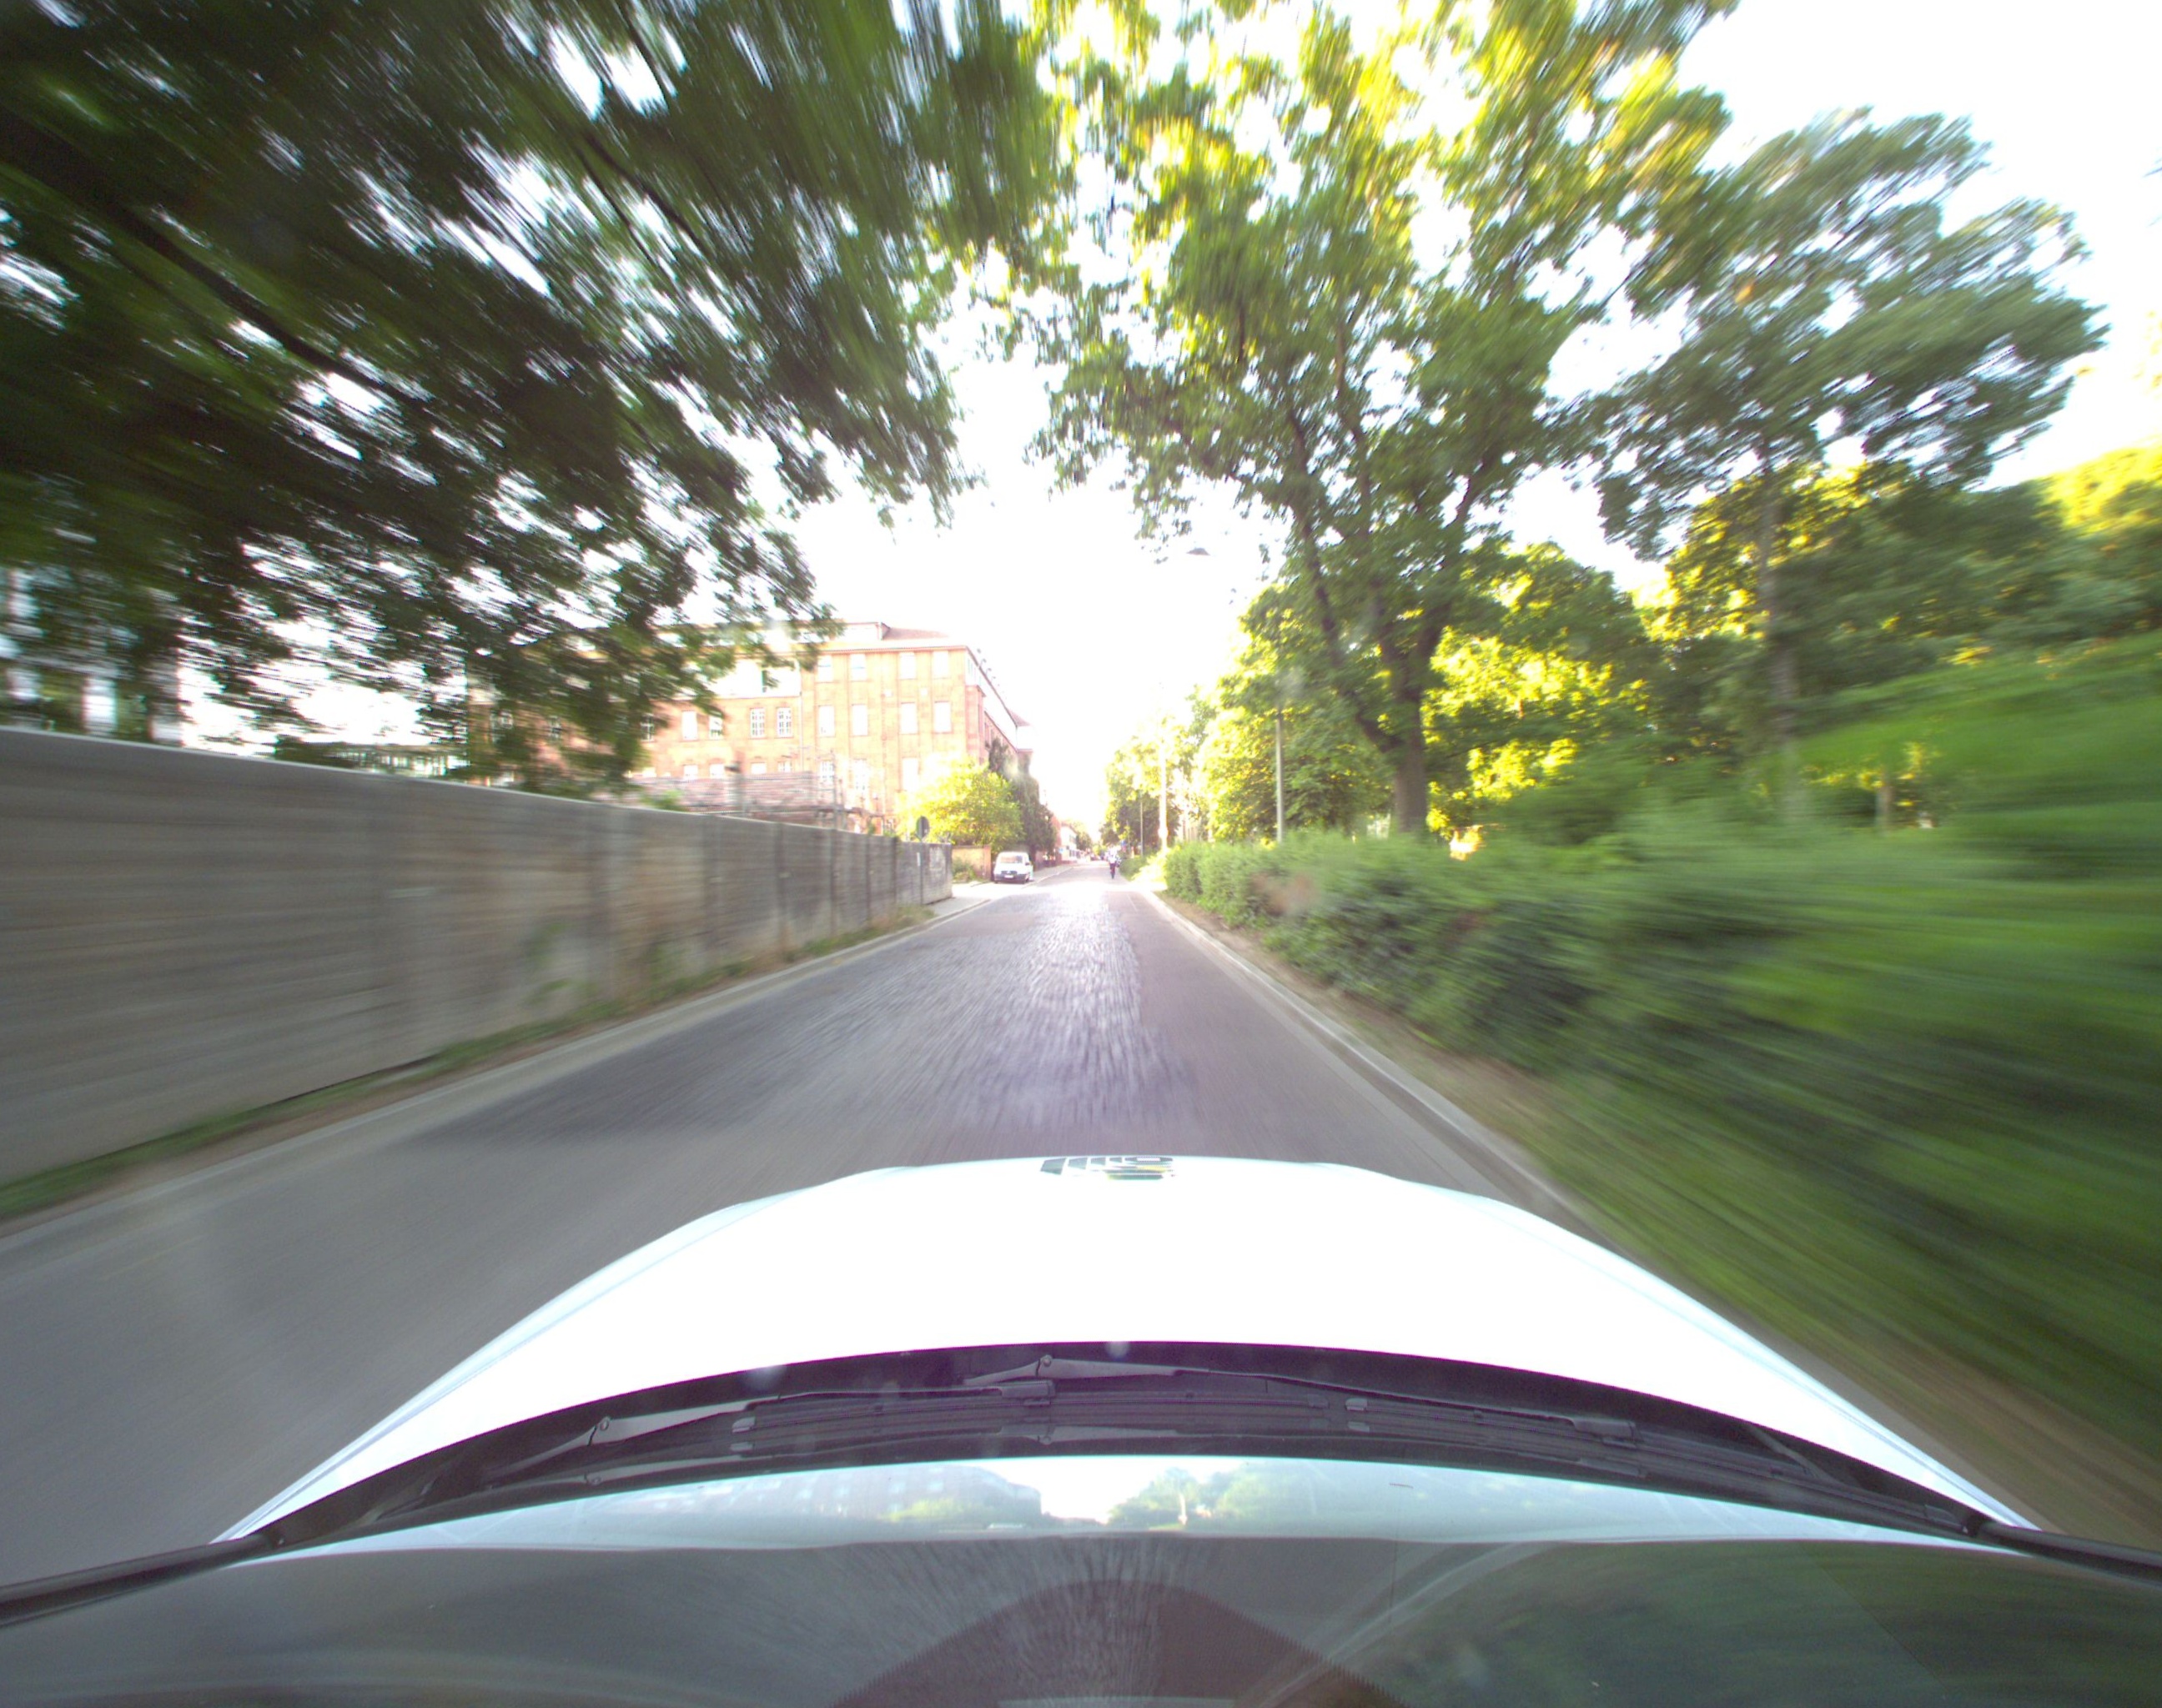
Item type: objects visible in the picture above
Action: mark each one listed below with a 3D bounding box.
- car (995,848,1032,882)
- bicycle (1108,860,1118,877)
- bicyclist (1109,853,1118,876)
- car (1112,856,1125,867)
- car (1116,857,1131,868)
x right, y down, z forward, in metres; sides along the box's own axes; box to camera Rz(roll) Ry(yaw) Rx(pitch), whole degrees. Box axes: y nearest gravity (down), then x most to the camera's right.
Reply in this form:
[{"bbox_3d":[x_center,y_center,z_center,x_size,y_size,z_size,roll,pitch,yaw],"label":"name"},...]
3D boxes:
[{"bbox_3d":[-4.157,0.675,50.606,1.877,2.014,5.224,0,-1,0],"label":"car"},{"bbox_3d":[2.335,1.053,58.846,0.636,1.193,1.875,0,0,0],"label":"bicycle"},{"bbox_3d":[2.335,0.741,58.822,0.637,1.667,0.842,0,0,-1],"label":"bicyclist"},{"bbox_3d":[5.755,1.149,123.977,1.710,1.538,4.047,-2,0,-1],"label":"car"},{"bbox_3d":[5.706,1.163,109.815,1.680,1.447,3.670,-4,-1,-1],"label":"car"}]
